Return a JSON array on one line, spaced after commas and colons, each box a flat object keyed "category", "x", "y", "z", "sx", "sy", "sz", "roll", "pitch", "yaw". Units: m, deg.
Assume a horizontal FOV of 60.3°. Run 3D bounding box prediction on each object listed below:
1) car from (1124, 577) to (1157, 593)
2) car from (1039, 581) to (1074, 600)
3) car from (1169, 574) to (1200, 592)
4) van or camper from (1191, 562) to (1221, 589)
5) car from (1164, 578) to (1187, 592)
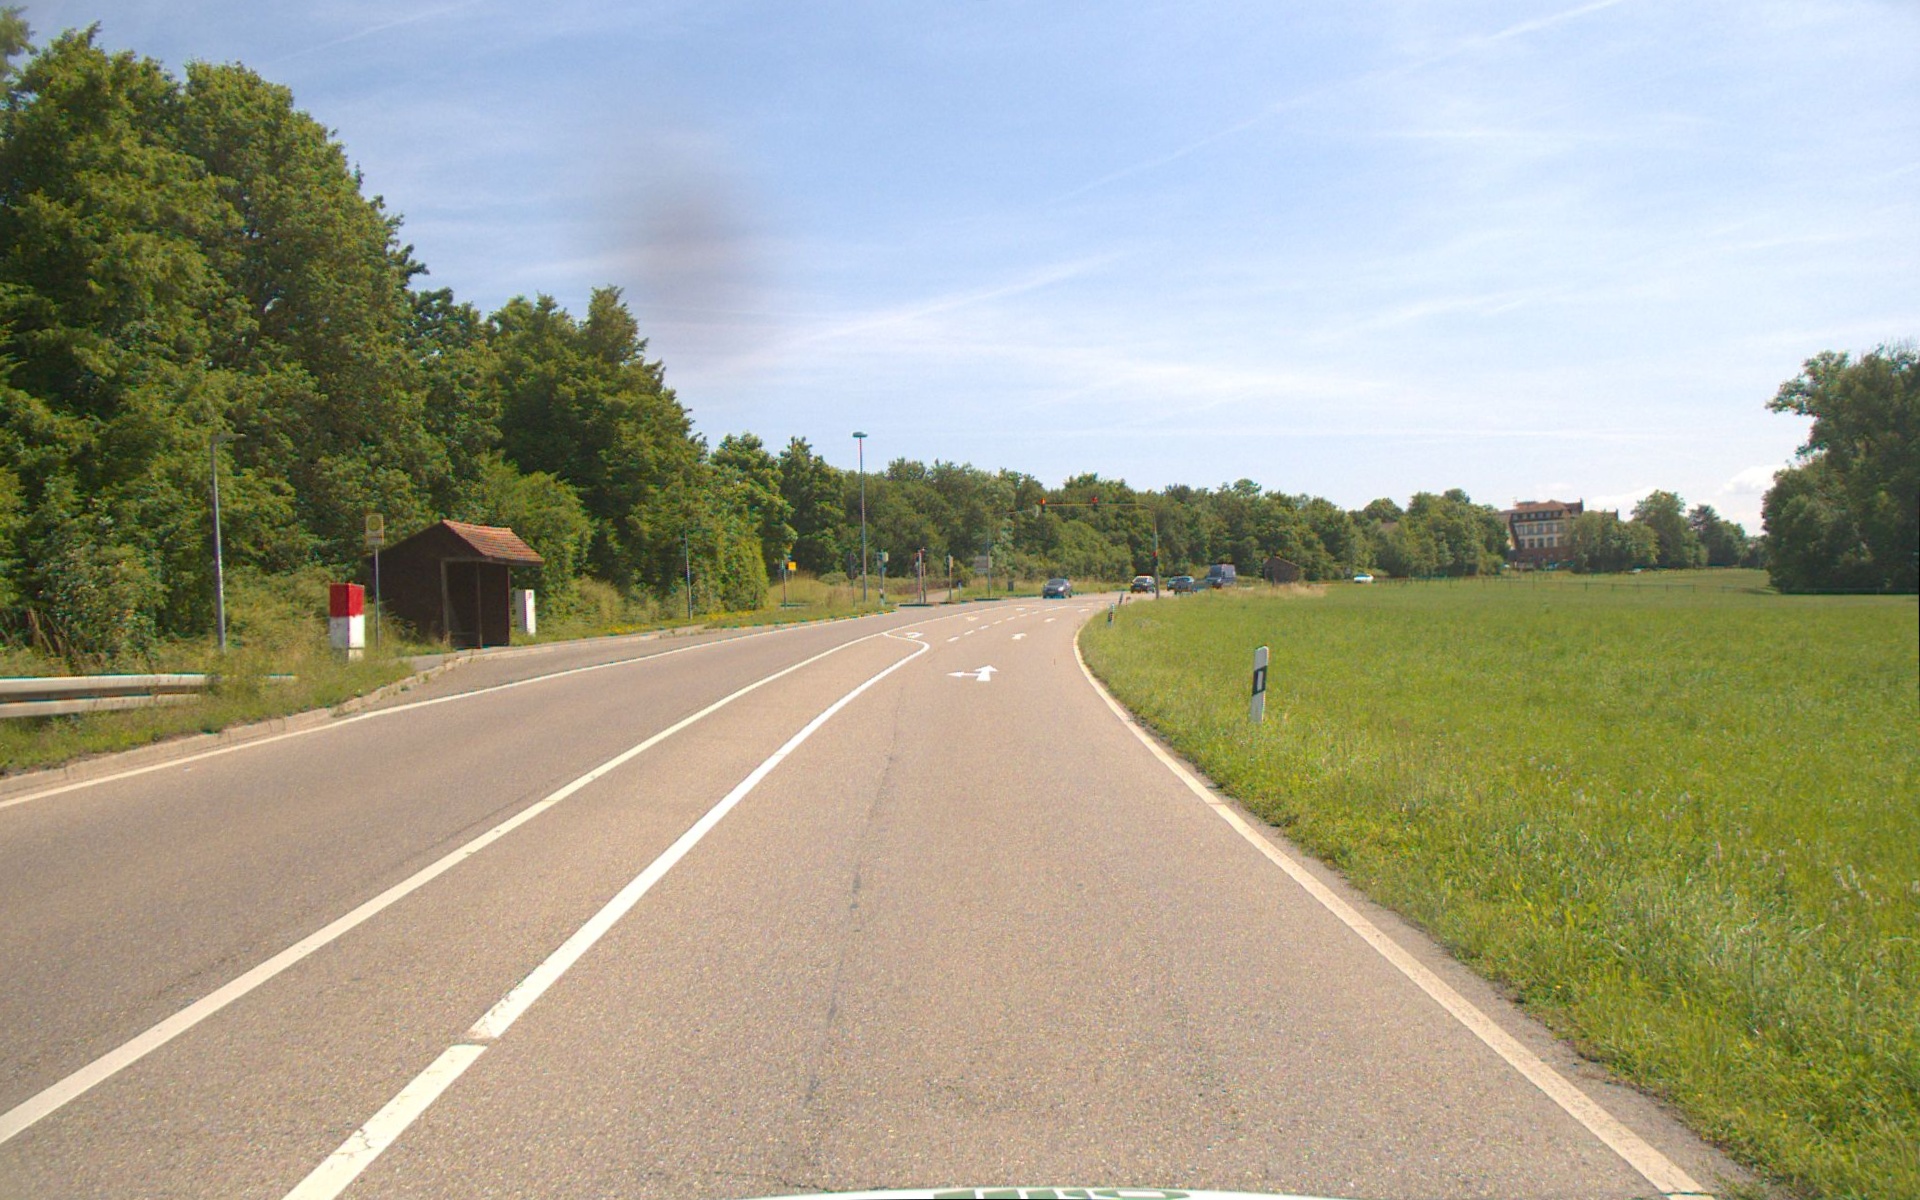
[{"category": "car", "x": 17.554, "y": -1.466, "z": 160.750, "sx": 1.935, "sy": 1.589, "sz": 4.187, "roll": 0, "pitch": 0, "yaw": 24}, {"category": "car", "x": 7.622, "y": -0.770, "z": 130.390, "sx": 1.753, "sy": 1.500, "sz": 4.313, "roll": 0, "pitch": 0, "yaw": 17}, {"category": "car", "x": 20.401, "y": -1.539, "z": 150.141, "sx": 1.952, "sy": 1.601, "sz": 4.000, "roll": 0, "pitch": 0, "yaw": 21}, {"category": "van or camper", "x": 28.946, "y": -2.910, "z": 194.435, "sx": 2.193, "sy": 2.964, "sz": 7.250, "roll": 0, "pitch": 2, "yaw": 20}, {"category": "car", "x": 23.209, "y": -1.567, "z": 177.888, "sx": 1.671, "sy": 1.509, "sz": 3.832, "roll": 0, "pitch": 0, "yaw": 21}]
